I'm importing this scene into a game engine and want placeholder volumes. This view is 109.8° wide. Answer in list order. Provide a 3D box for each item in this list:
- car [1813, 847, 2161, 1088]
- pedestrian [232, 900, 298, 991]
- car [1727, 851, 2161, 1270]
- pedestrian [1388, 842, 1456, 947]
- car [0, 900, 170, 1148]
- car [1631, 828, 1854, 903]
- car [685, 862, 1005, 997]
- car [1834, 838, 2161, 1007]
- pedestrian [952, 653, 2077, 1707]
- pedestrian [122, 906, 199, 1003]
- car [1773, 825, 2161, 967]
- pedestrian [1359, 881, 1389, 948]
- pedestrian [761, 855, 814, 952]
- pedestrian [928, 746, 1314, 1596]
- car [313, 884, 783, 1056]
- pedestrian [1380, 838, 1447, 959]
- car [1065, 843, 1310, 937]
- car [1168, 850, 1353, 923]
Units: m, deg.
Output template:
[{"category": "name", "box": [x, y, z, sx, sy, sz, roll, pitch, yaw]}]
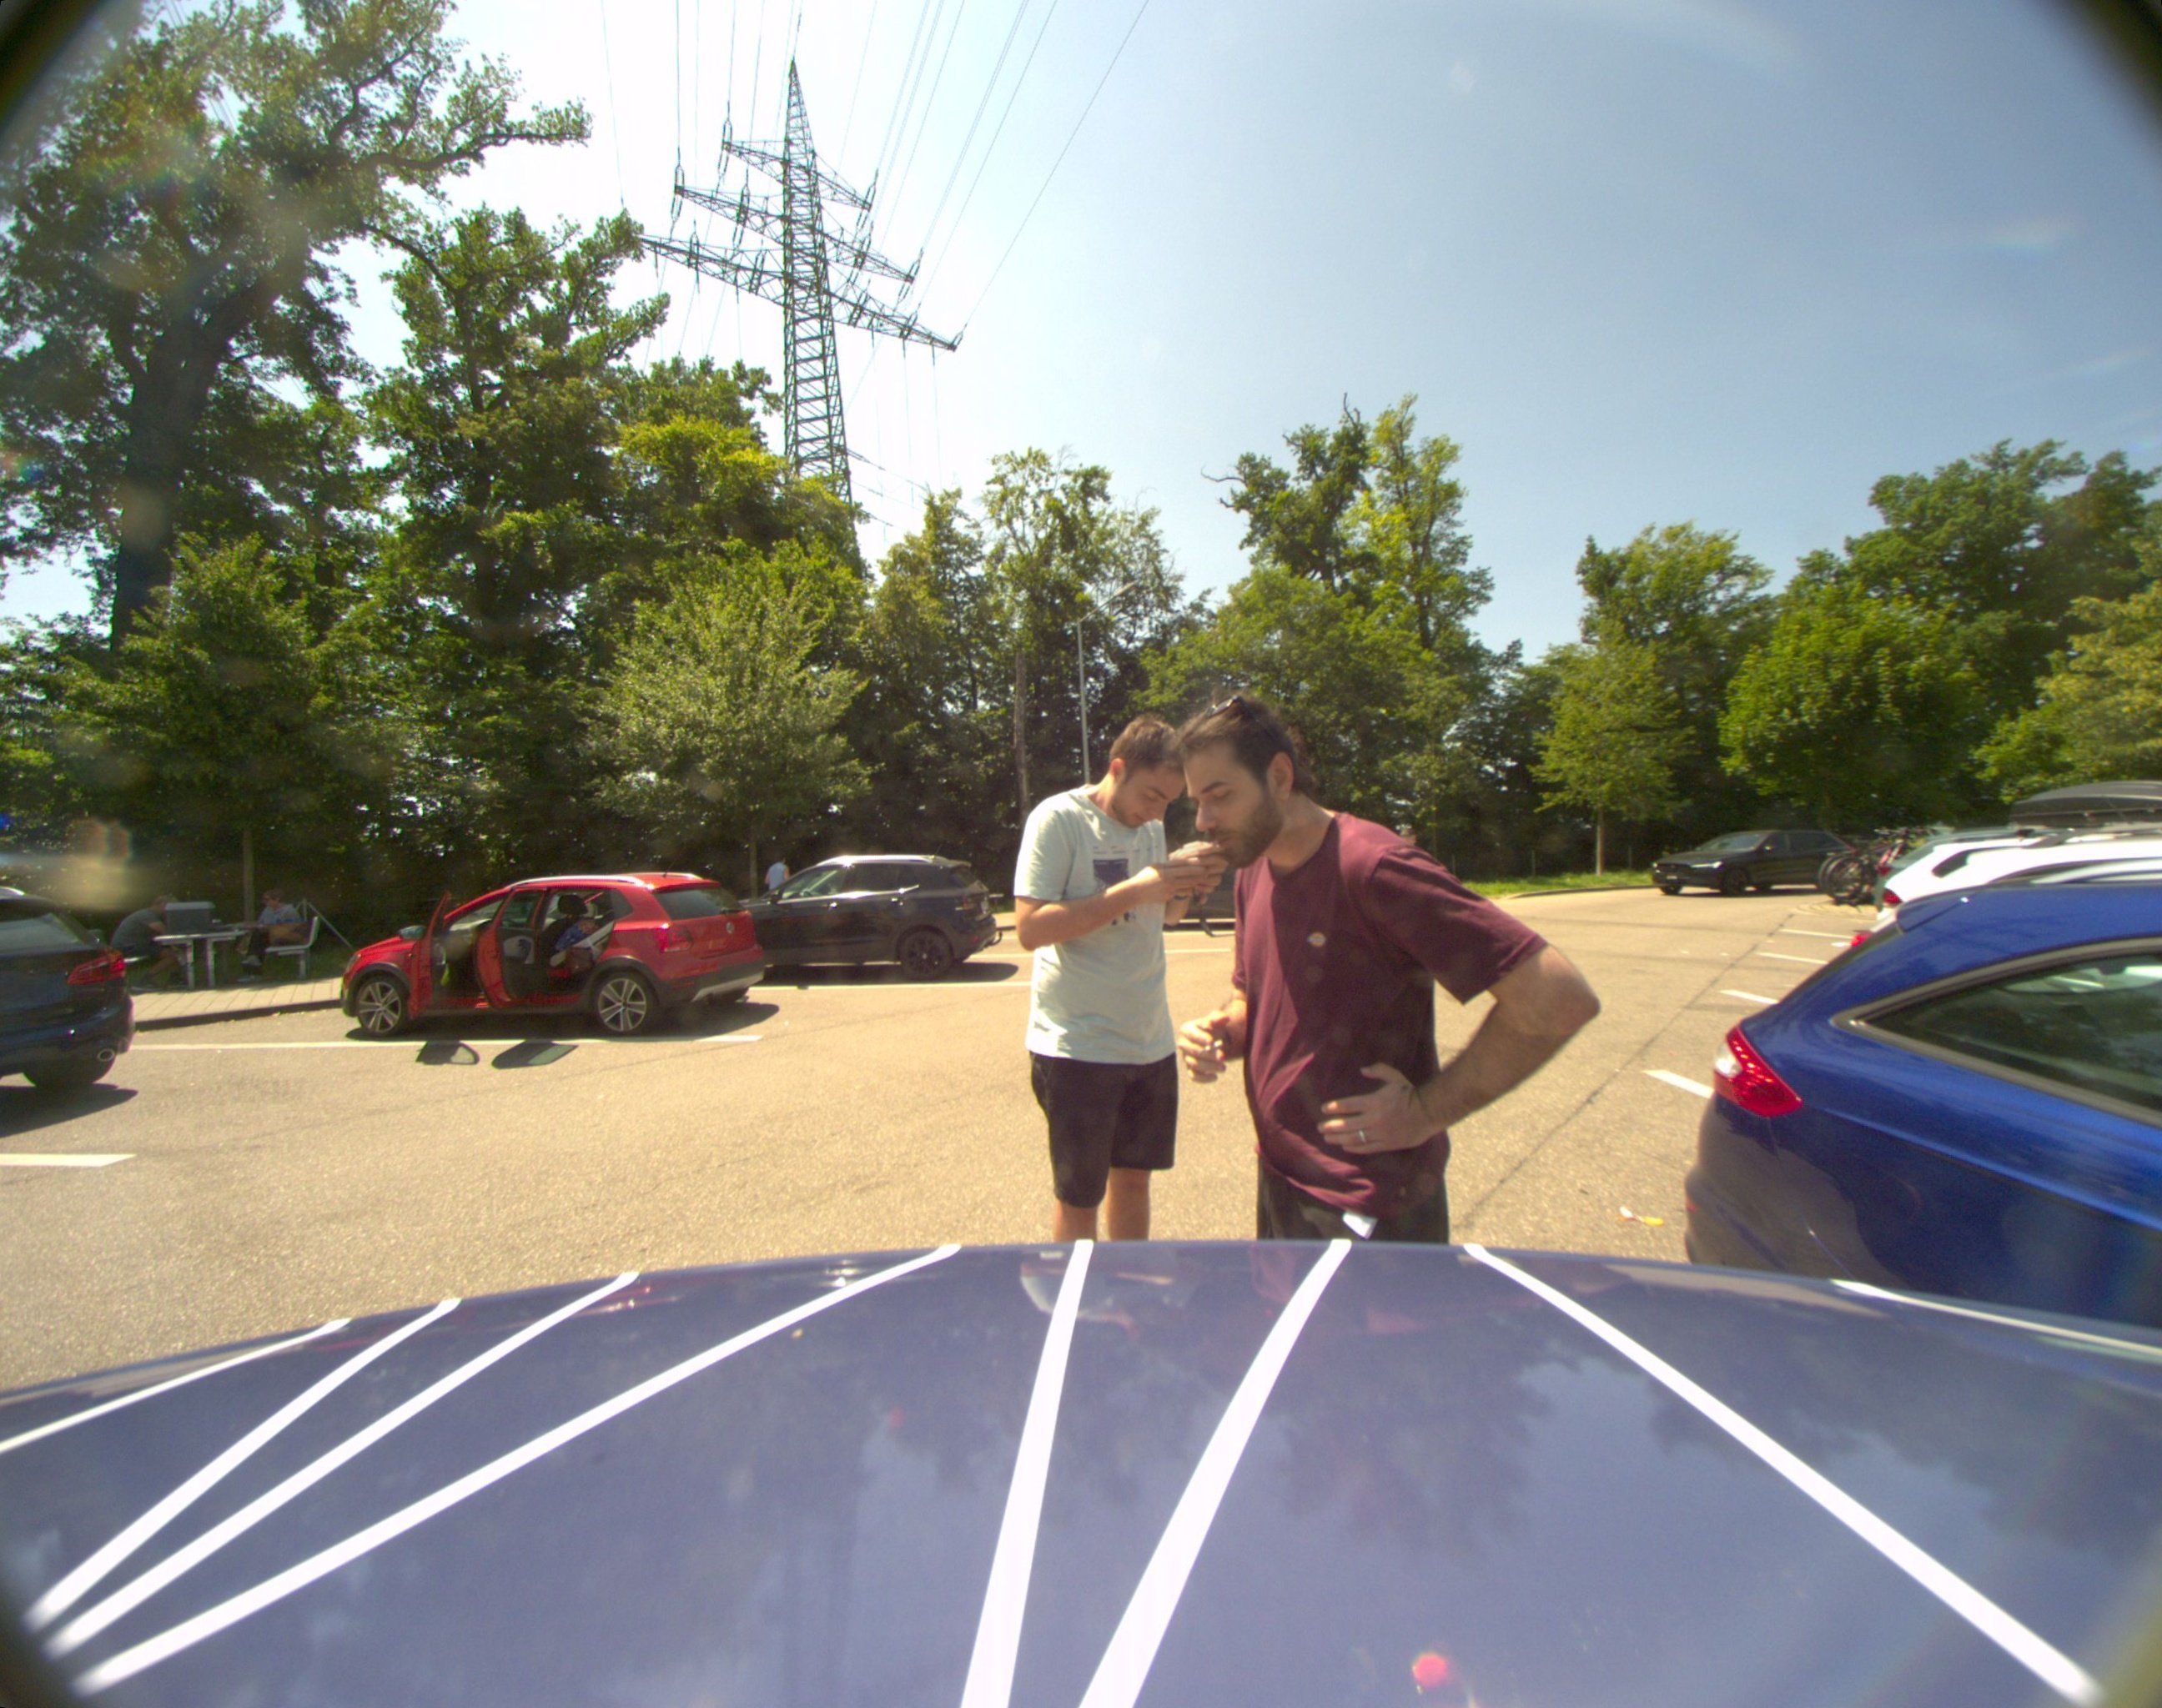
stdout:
[{"category": "car", "box": [7.470, 0.675, 4.525, 1.776, 1.418, 4.495, -3, -1, -1]}, {"category": "pedestrian", "box": [-11.956, 1.315, 11.139, 0.695, 1.228, 0.588, -3, 0, 43]}, {"category": "car", "box": [4.867, 0.744, 2.366, 1.776, 1.491, 4.495, -3, -1, -1]}, {"category": "pedestrian", "box": [5.539, 0.642, 12.377, 0.832, 1.653, 0.676, -2, 0, 11]}, {"category": "car", "box": [-8.890, 1.170, 5.004, 3.934, 1.534, 1.812, -2, 0, 7]}, {"category": "car", "box": [17.299, 0.252, 19.954, 4.618, 1.703, 1.998, -2, 1, -12]}, {"category": "car", "box": [-3.038, 0.954, 10.326, 3.732, 1.578, 1.739, -2, 0, 2]}, {"category": "car", "box": [10.103, 0.571, 6.911, 1.777, 1.418, 4.493, -3, -1, -5]}, {"category": "pedestrian", "box": [0.432, 0.772, 1.089, 0.863, 1.823, 0.862, -2, 1, 14]}, {"category": "pedestrian", "box": [-12.637, 1.349, 10.451, 0.695, 1.228, 0.588, -3, 0, 43]}, {"category": "car", "box": [12.535, 0.476, 10.382, 1.777, 1.541, 4.493, -3, -1, -5]}, {"category": "pedestrian", "box": [4.781, 0.978, 12.397, 0.433, 1.038, 0.440, -2, 0, 21]}, {"category": "pedestrian", "box": [-5.728, 0.952, 14.827, 0.764, 1.821, 0.521, -2, 1, 28]}, {"category": "pedestrian", "box": [0.063, 0.722, 2.139, 0.861, 1.940, 0.688, -2, 1, -9]}, {"category": "car", "box": [-5.195, 1.097, 7.649, 3.730, 1.440, 1.591, -2, 0, 7]}, {"category": "pedestrian", "box": [4.948, 0.638, 11.300, 0.831, 1.722, 0.677, -2, 1, 26]}, {"category": "car", "box": [2.134, 0.715, 15.483, 4.619, 1.701, 1.740, -2, 0, 9]}, {"category": "car", "box": [4.138, 0.744, 18.022, 3.996, 1.495, 1.687, -2, 1, 3]}]
